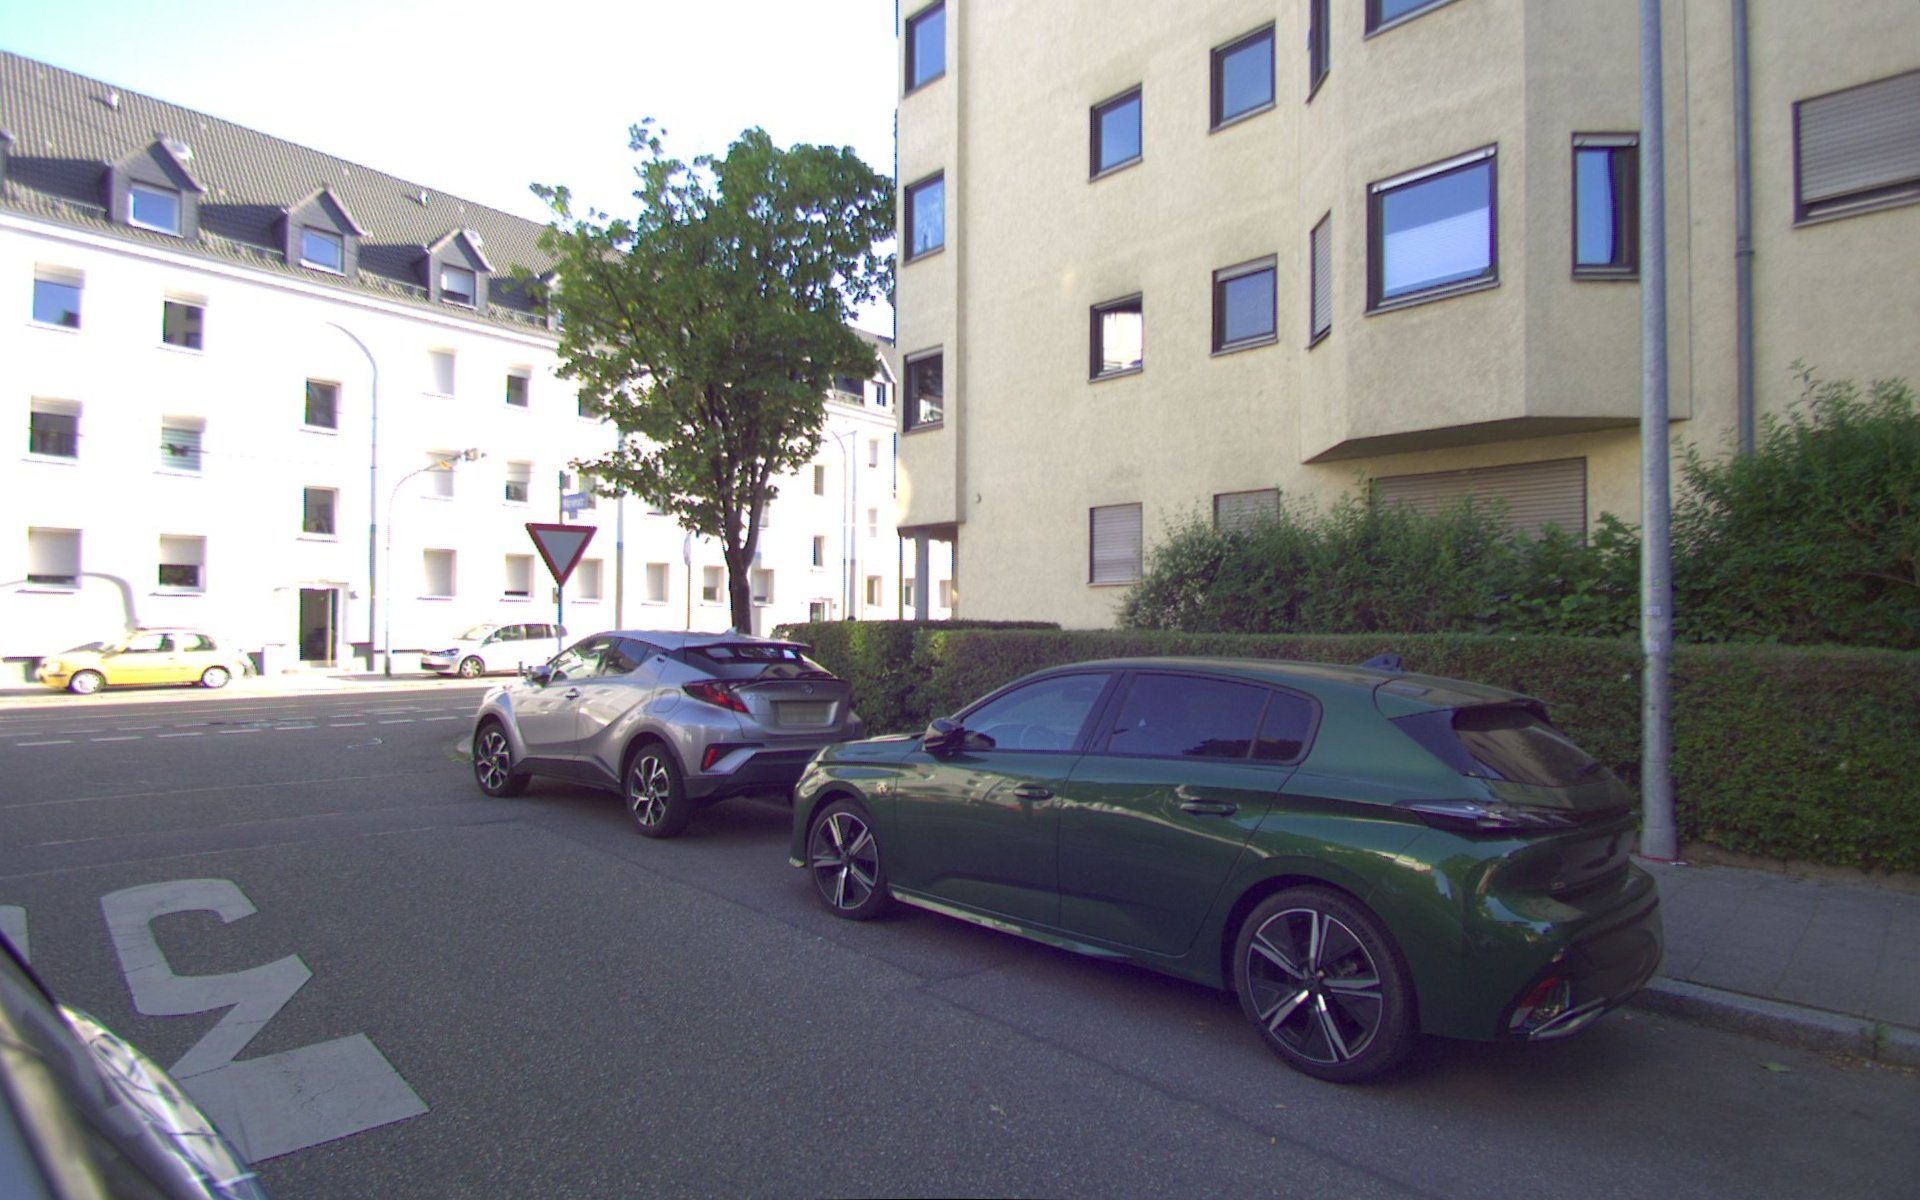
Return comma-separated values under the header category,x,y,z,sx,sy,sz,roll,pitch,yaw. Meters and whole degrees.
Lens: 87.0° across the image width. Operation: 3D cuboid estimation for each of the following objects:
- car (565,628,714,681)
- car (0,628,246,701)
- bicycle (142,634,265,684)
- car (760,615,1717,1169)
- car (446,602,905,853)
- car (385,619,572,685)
category,x,y,z,sx,sy,sz,roll,pitch,yaw
car,-10.481,1.746,33.319,1.869,1.566,4.307,1,-1,41
car,-18.784,1.373,22.795,1.517,1.441,4.146,0,-1,39
bicycle,-19.286,1.482,25.850,1.098,1.206,2.297,-1,-2,38
car,0.938,0.875,4.889,1.732,1.508,4.138,4,-4,-44
car,-2.594,0.920,8.792,3.997,1.672,1.884,-1,-4,40
car,-13.795,1.448,29.241,1.758,1.678,4.569,3,0,36
